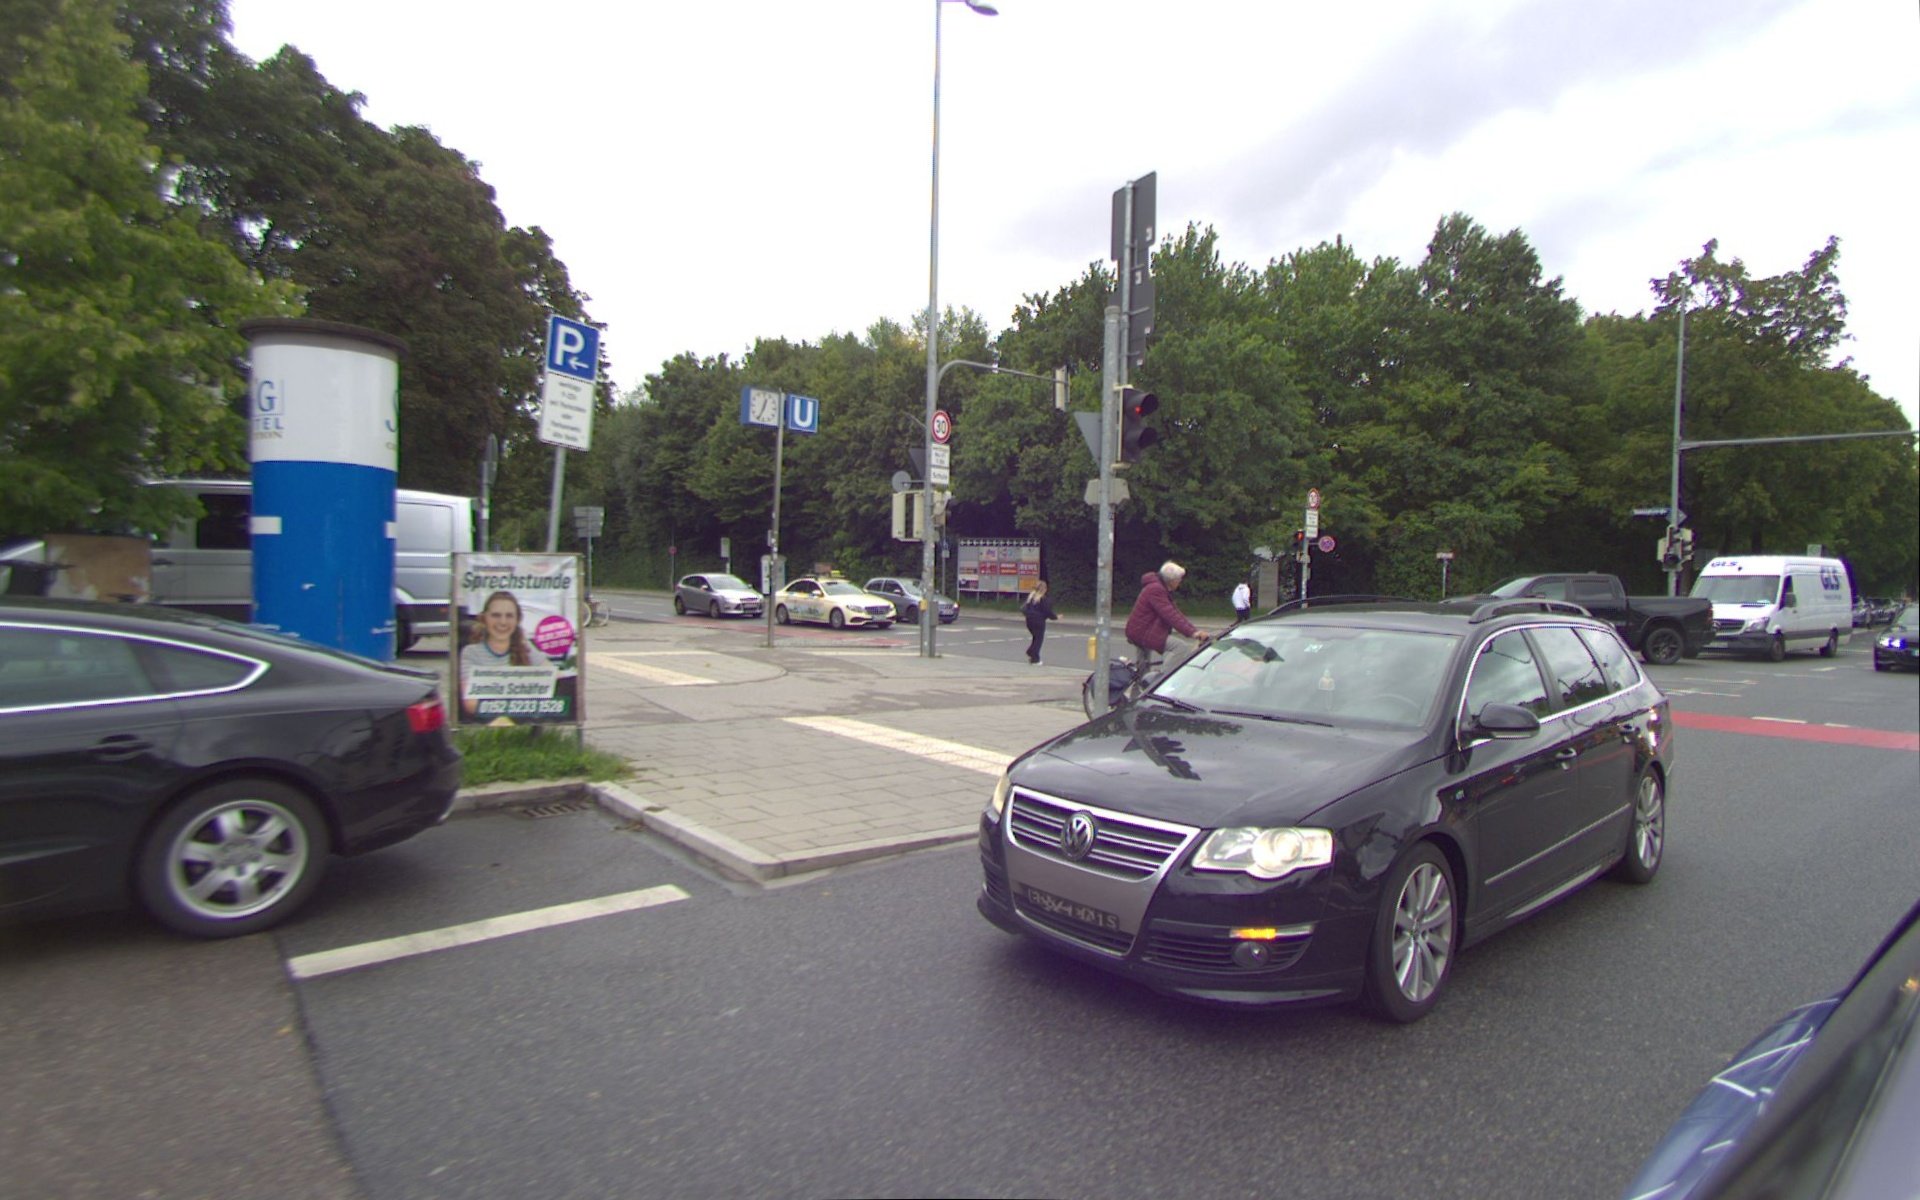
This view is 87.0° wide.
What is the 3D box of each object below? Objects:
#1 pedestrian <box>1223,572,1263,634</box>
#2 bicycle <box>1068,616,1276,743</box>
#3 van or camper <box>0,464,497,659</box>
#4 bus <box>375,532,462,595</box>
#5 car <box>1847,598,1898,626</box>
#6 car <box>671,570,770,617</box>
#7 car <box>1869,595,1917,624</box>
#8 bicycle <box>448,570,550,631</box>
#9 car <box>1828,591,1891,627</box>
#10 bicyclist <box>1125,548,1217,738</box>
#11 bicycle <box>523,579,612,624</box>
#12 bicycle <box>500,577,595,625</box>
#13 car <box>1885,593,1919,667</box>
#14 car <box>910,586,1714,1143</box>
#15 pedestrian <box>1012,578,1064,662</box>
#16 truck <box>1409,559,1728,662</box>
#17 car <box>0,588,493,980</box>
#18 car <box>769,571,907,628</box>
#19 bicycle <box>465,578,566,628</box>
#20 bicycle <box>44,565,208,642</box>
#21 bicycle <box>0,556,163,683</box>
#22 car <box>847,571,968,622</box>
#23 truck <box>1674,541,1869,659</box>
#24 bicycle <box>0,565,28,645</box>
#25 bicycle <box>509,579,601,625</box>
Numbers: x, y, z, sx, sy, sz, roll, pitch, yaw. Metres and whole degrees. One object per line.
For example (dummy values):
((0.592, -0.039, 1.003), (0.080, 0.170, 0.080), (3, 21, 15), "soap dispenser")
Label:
((8.038, 0.077, 28.759), (0.758, 1.724, 0.926), (2, 1, 40), "pedestrian")
((2.091, 0.749, 10.035), (1.919, 1.094, 0.744), (2, 1, 15), "bicycle")
((-9.757, -0.468, 13.914), (6.069, 2.325, 2.153), (1, 1, -23), "van or camper")
((-31.512, -2.132, 58.576), (2.682, 3.322, 11.890), (1, 2, -37), "bus")
((52.440, 0.666, 58.161), (4.183, 1.446, 1.750), (0, 2, -42), "car")
((-8.286, -0.252, 34.847), (1.600, 1.472, 3.942), (0, 2, -43), "car")
((57.055, 0.568, 61.857), (4.183, 1.670, 1.750), (0, 2, -42), "car")
((-10.054, -0.009, 22.149), (0.695, 1.266, 2.098), (2, 1, 23), "bicycle")
((44.928, 0.410, 50.538), (4.322, 1.670, 1.882), (0, 2, -42), "car")
((2.096, 0.397, 10.033), (0.816, 1.786, 0.743), (2, 1, 14), "bicyclist")
((-10.178, 0.036, 26.293), (2.073, 1.108, 0.610), (0, 1, -33), "bicycle")
((-10.036, 0.021, 24.652), (2.072, 1.108, 0.610), (1, 1, -31), "bicycle")
((20.999, 0.622, 21.217), (4.589, 1.447, 1.818), (0, 2, -41), "car")
((2.080, 0.708, 4.957), (4.592, 1.493, 1.750), (0, 1, -42), "car")
((1.486, 0.377, 19.329), (0.722, 1.557, 0.694), (1, 1, -21), "pedestrian")
((13.367, 0.182, 22.533), (5.704, 2.038, 2.105), (2, 1, 2), "truck")
((-4.423, 0.649, 3.823), (4.543, 1.377, 1.712), (0, 1, -43), "car")
((-3.686, -0.056, 30.027), (1.856, 1.516, 4.305), (0, 2, -43), "car")
((-10.285, 0.068, 23.463), (2.073, 1.108, 0.610), (0, 1, -33), "bicycle")
((-13.654, 0.046, 16.605), (2.088, 1.168, 0.719), (1, 1, 0), "bicycle")
((-9.423, 0.178, 10.337), (1.962, 1.213, 0.864), (0, 3, -37), "bicycle")
((-1.731, -0.153, 32.629), (3.935, 1.472, 1.603), (3, 2, 42), "car")
((20.643, -0.024, 25.591), (7.090, 2.636, 2.000), (0, 1, -36), "truck")
((-15.174, 0.046, 14.984), (2.088, 1.168, 0.719), (1, 1, 0), "bicycle")
((-10.184, 0.045, 25.493), (2.073, 1.108, 0.610), (0, 1, -33), "bicycle")
